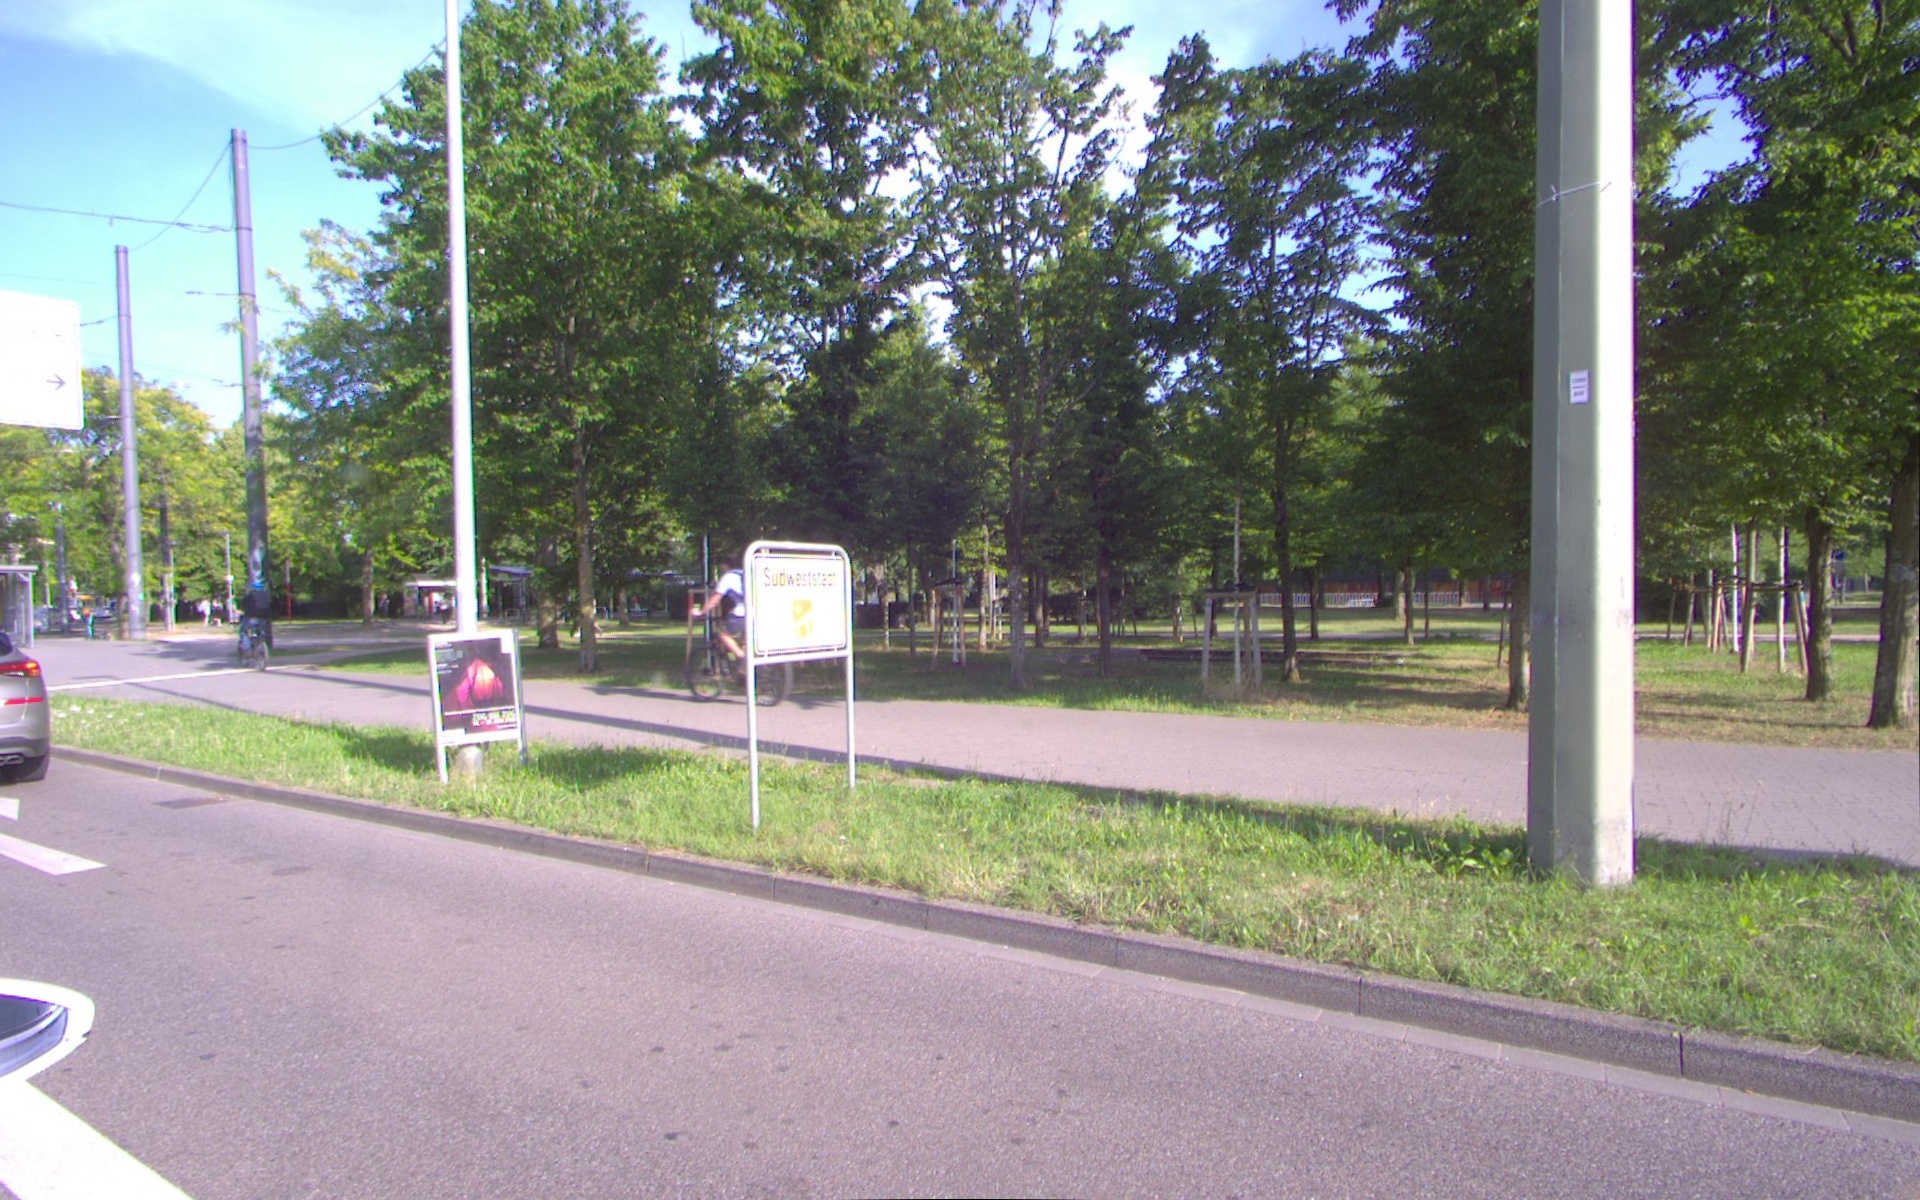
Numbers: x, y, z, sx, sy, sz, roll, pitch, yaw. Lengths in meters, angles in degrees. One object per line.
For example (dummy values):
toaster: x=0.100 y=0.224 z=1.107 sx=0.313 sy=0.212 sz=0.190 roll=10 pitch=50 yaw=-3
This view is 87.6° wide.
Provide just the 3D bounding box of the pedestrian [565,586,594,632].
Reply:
pedestrian: x=-15.070 y=0.380 z=39.665 sx=0.867 sy=1.800 sz=0.670 roll=0 pitch=-1 yaw=33

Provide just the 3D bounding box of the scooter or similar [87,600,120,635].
scooter or similar: x=-31.439 y=0.640 z=36.744 sx=1.115 sy=1.248 sz=0.351 roll=0 pitch=1 yaw=18

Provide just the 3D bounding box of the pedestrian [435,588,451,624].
pedestrian: x=-27.764 y=0.330 z=53.792 sx=0.595 sy=1.891 sz=0.461 roll=0 pitch=-1 yaw=19

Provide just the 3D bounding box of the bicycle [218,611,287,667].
bicycle: x=-15.121 y=0.815 z=21.398 sx=1.711 sy=1.103 sz=0.638 roll=0 pitch=3 yaw=36

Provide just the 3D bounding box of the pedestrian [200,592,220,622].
pedestrian: x=-41.767 y=0.378 z=55.784 sx=0.681 sy=1.632 sz=0.639 roll=0 pitch=1 yaw=32

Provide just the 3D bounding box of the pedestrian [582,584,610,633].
pedestrian: x=-14.694 y=0.353 z=40.441 sx=0.868 sy=1.922 sz=0.670 roll=0 pitch=-1 yaw=33

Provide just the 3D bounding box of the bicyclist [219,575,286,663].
bicyclist: x=-14.983 y=0.395 z=21.217 sx=1.125 sy=1.770 sz=0.717 roll=0 pitch=4 yaw=36

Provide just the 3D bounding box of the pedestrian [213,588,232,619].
pedestrian: x=-40.916 y=0.175 z=55.568 sx=0.681 sy=1.688 sz=0.639 roll=0 pitch=1 yaw=32

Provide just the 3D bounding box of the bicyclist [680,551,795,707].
bicyclist: x=-2.663 y=0.329 z=12.012 sx=1.123 sy=1.770 sz=0.647 roll=-1 pitch=4 yaw=31

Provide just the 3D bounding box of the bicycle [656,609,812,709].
bicycle: x=-2.757 y=0.681 z=12.141 sx=1.912 sy=1.103 sz=0.639 roll=-1 pitch=3 yaw=32

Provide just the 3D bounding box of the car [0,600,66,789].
car: x=-10.069 y=0.823 z=9.195 sx=3.760 sy=1.621 sz=1.832 roll=-1 pitch=-1 yaw=32

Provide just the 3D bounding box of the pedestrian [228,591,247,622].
pedestrian: x=-39.803 y=0.356 z=55.166 sx=0.681 sy=1.688 sz=0.639 roll=0 pitch=1 yaw=32
